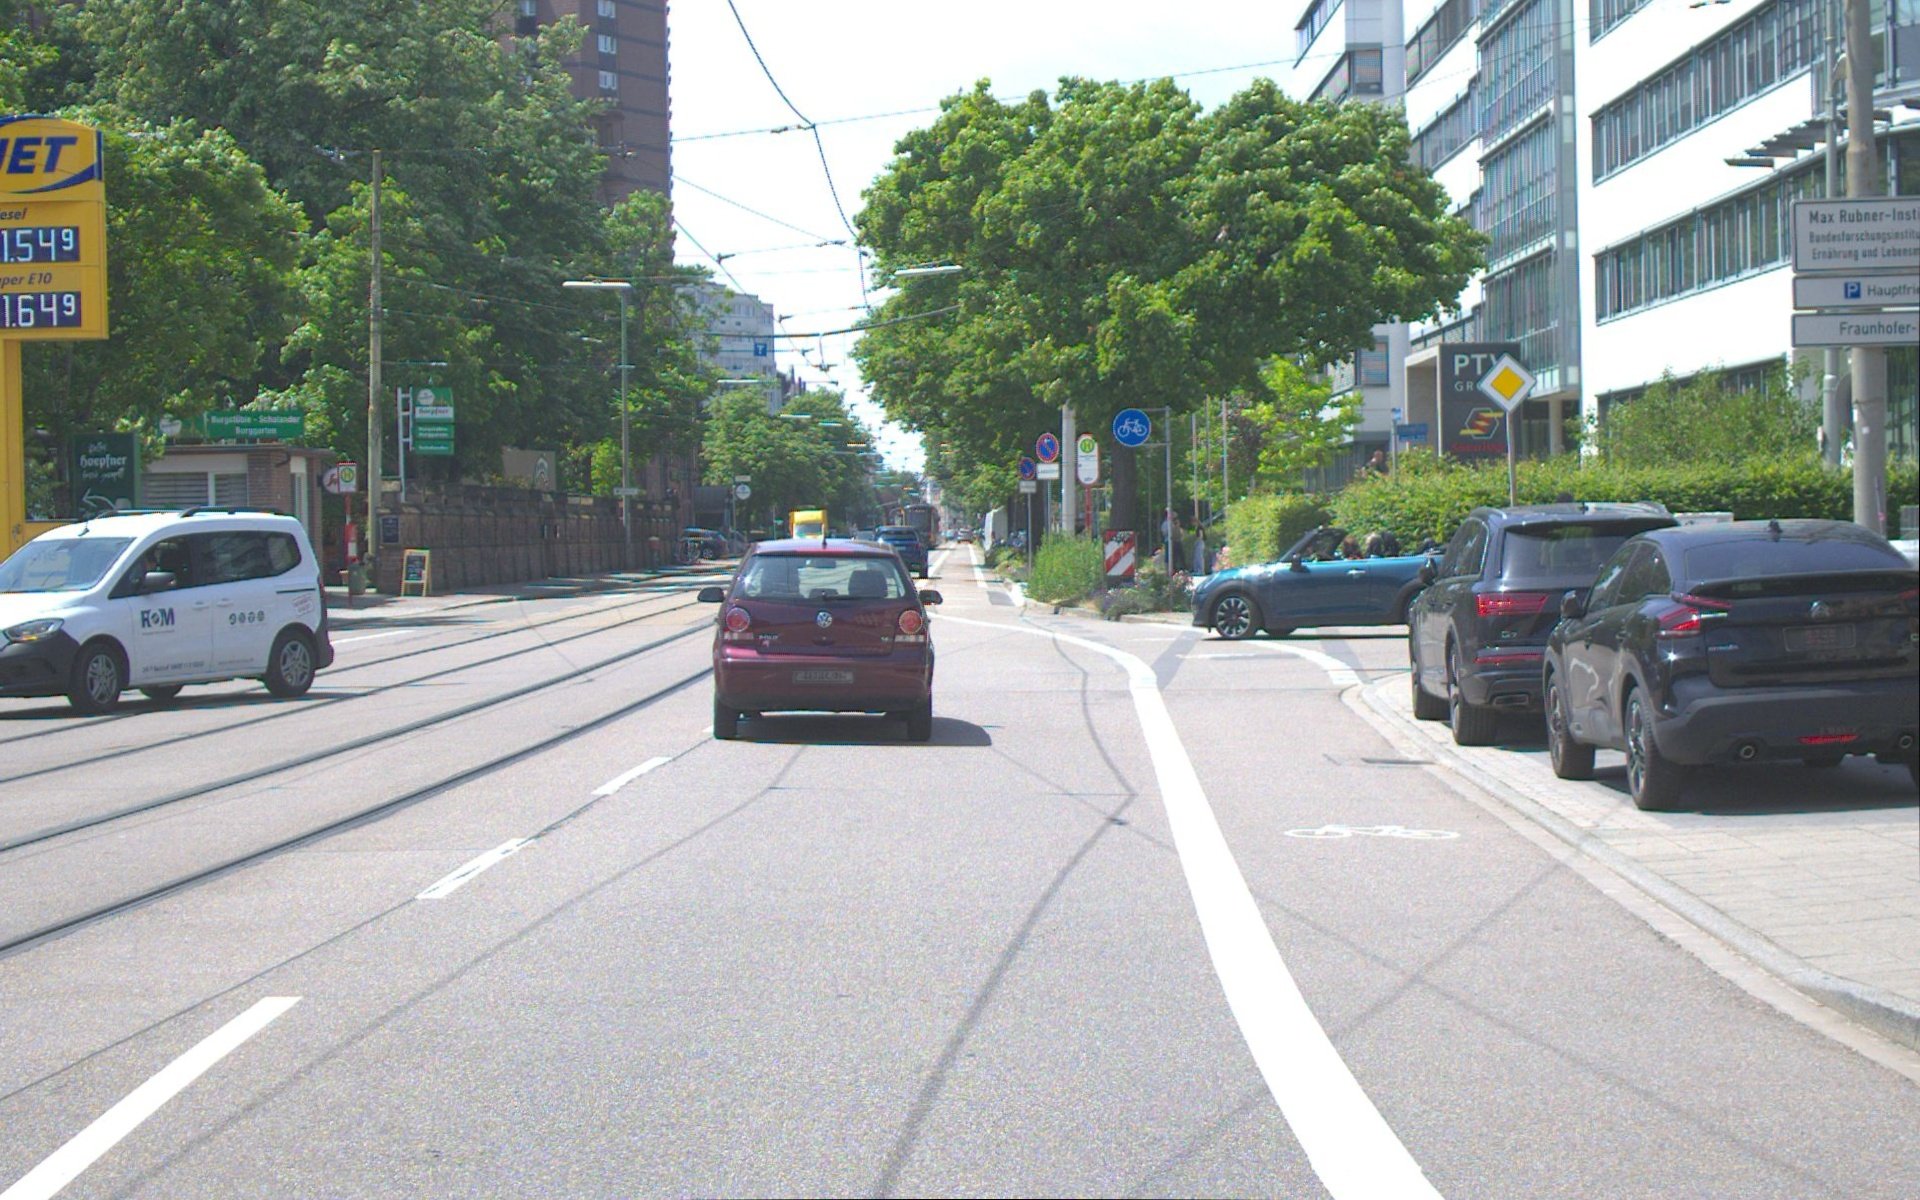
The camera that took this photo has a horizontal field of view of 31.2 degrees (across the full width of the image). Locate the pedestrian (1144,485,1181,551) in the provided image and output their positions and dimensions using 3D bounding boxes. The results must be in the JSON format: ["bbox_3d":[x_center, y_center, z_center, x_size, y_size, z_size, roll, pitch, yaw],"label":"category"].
[{"bbox_3d":[5.569,-2.254,94.522,0.677,1.790,0.675,-3,1,-31],"label":"pedestrian"}]

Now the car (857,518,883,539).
[{"bbox_3d":[-6.598,-5.260,253.165,1.770,1.510,4.000,-1,1,0],"label":"car"}]

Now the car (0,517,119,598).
[{"bbox_3d":[-18.140,-0.806,64.247,1.934,1.483,4.441,2,2,40],"label":"car"}]

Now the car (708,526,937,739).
[{"bbox_3d":[-1.099,0.191,26.433,1.619,1.481,4.001,0,2,-4],"label":"car"}]

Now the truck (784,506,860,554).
[{"bbox_3d":[-8.191,-4.171,205.180,2.371,2.777,7.314,-1,1,16],"label":"truck"}]

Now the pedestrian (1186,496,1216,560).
[{"bbox_3d":[6.610,-1.965,94.200,0.537,1.709,0.566,-3,1,-29],"label":"pedestrian"}]

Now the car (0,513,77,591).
[{"bbox_3d":[-19.425,-0.924,66.103,1.934,1.483,4.441,2,2,40],"label":"car"}]

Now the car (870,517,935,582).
[{"bbox_3d":[-1.840,-1.611,108.688,1.993,2.007,4.001,0,1,-2],"label":"car"}]

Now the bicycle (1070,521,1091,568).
[{"bbox_3d":[4.655,-2.133,132.483,0.690,1.779,1.810,-2,0,3],"label":"bicycle"}]

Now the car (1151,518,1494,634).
[{"bbox_3d":[4.545,-0.298,43.124,3.919,1.367,1.701,-1,1,25],"label":"car"}]

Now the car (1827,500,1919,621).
[{"bbox_3d":[13.055,-0.534,42.712,4.149,1.454,1.818,-1,1,4],"label":"car"}]

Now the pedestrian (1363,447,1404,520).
[{"bbox_3d":[10.235,-2.799,83.037,0.874,1.709,1.089,-2,1,10],"label":"pedestrian"}]

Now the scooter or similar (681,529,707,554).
[{"bbox_3d":[-12.638,-2.780,163.276,1.088,1.151,0.527,0,1,-20],"label":"scooter or similar"}]

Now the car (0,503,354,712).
[{"bbox_3d":[-7.866,0.004,32.138,1.996,1.793,4.546,0,2,27],"label":"car"}]

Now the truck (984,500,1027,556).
[{"bbox_3d":[2.187,-3.517,166.497,1.993,2.652,4.875,0,1,0],"label":"truck"}]

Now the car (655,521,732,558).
[{"bbox_3d":[-14.722,-3.349,190.049,3.987,2.007,2.000,-1,1,5],"label":"car"}]

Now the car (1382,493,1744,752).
[{"bbox_3d":[4.454,0.095,26.169,1.924,1.687,5.082,-3,1,2],"label":"car"}]

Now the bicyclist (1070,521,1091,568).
[{"bbox_3d":[4.652,-2.142,132.484,0.696,1.793,0.887,-2,0,3],"label":"bicyclist"}]

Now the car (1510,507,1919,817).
[{"bbox_3d":[4.465,0.283,20.078,1.772,1.543,4.468,-3,1,1],"label":"car"}]

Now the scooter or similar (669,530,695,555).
[{"bbox_3d":[-12.945,-2.678,159.964,1.088,1.151,0.527,0,1,-20],"label":"scooter or similar"}]
